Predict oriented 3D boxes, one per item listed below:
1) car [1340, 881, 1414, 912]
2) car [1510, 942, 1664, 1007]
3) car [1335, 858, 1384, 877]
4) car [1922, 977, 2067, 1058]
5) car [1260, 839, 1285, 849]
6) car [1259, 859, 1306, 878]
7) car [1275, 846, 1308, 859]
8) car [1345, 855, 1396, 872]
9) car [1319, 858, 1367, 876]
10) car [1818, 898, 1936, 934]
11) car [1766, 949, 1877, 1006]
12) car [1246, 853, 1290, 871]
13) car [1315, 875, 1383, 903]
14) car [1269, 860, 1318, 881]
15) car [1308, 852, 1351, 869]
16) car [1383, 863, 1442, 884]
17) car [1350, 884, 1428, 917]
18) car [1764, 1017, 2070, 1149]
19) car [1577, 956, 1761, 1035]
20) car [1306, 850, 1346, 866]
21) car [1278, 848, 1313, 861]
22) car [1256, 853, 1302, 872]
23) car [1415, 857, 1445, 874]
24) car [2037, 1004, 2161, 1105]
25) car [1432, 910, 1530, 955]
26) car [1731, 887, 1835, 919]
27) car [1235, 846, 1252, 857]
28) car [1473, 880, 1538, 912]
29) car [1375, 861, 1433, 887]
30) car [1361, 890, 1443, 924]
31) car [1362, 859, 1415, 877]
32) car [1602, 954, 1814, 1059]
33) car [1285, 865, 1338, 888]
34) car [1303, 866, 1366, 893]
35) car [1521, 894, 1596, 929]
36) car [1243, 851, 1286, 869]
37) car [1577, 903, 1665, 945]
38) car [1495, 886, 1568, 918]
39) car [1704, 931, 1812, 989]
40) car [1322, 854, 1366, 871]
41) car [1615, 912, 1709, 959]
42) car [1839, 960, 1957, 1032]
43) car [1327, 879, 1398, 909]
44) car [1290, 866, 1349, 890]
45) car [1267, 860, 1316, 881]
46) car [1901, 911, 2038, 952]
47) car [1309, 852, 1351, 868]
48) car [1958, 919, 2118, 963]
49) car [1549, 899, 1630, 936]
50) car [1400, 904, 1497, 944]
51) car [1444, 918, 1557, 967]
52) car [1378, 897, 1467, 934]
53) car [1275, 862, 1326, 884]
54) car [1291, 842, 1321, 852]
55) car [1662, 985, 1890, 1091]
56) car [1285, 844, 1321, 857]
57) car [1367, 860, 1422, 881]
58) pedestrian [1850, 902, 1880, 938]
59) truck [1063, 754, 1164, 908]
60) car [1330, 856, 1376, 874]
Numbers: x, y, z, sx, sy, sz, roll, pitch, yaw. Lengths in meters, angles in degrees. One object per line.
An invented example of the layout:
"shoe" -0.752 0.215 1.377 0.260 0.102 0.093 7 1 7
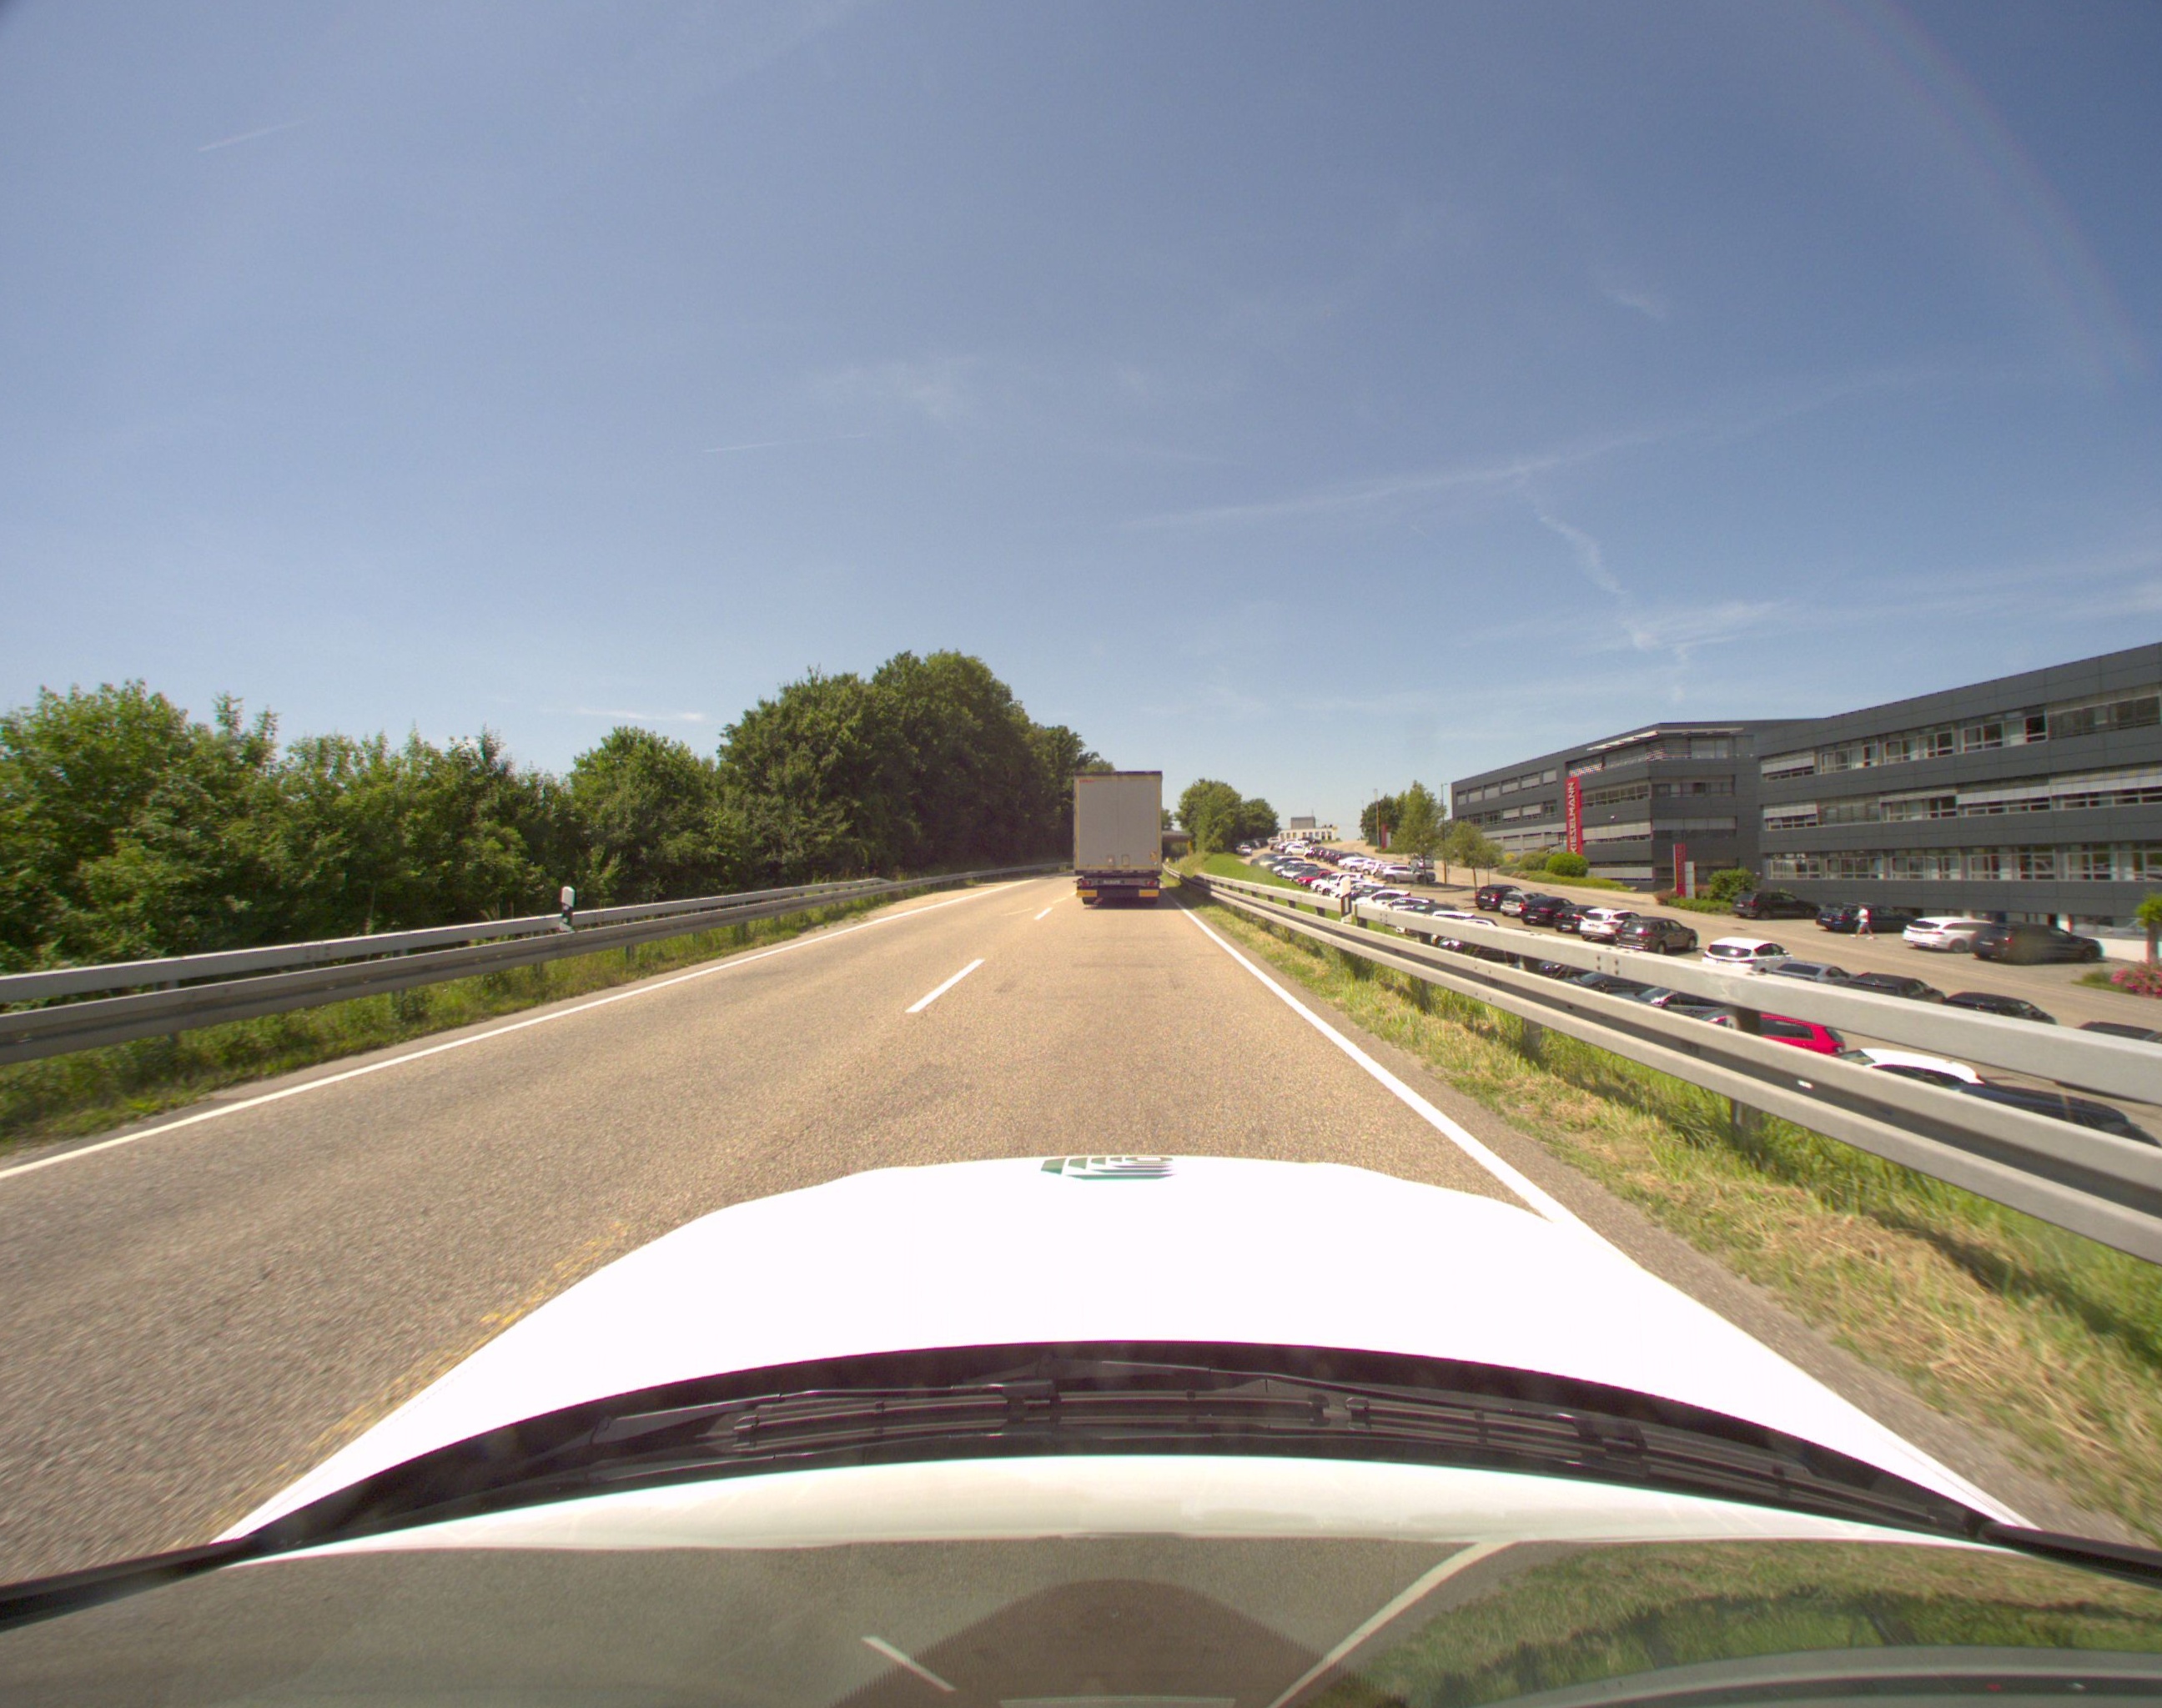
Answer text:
"car" 19.745 2.804 54.393 4.323 1.559 1.899 5 2 28
"car" 18.741 4.424 30.429 4.667 1.487 1.926 5 3 29
"car" 29.391 1.376 86.059 4.529 1.628 1.832 5 3 30
"car" 27.270 4.789 24.286 4.421 1.535 1.775 -1 4 -27
"car" 36.419 -1.904 155.085 4.383 1.685 1.874 -1 4 -25
"car" 20.517 1.460 83.030 4.383 1.685 1.874 3 2 -25
"car" 31.582 -0.259 122.173 4.531 1.628 1.831 3 2 24
"car" 29.353 0.930 82.529 4.527 1.519 1.833 1 5 34
"car" 28.618 1.403 88.919 4.529 1.628 1.832 5 3 30
"car" 42.169 3.281 43.223 4.558 1.572 1.820 -1 2 -1
"car" 27.370 4.493 30.085 4.171 1.377 1.774 -1 4 -29
"car" 20.537 0.889 89.560 4.383 1.685 1.874 3 2 -25
"car" 19.918 2.565 60.574 4.322 1.559 1.900 5 3 33
"car" 20.027 1.567 76.687 4.393 1.685 1.869 2 3 -33
"car" 29.805 0.743 97.540 4.529 1.628 1.832 5 3 30
"car" 28.683 1.685 70.506 4.528 1.628 1.832 0 3 29
"car" 19.550 2.909 51.691 4.323 1.559 1.873 5 2 28
"car" 18.606 5.051 18.454 4.358 1.662 1.910 5 2 24
"car" 19.278 4.606 27.030 4.667 1.564 1.972 5 3 29
"car" 30.923 0.438 102.810 4.529 1.628 1.832 5 3 30
"car" 30.506 -0.003 115.748 4.531 1.628 1.831 3 1 25
"car" 20.957 0.935 86.129 4.383 1.685 1.874 3 2 -25
"car" 37.200 1.226 86.883 1.798 1.662 4.006 1 0 5
"car" 26.498 4.997 20.734 4.421 1.540 1.775 -1 4 -27
"car" 19.311 3.768 39.394 4.076 1.517 1.689 5 2 27
"car" 41.844 2.899 48.613 4.554 1.647 1.822 -1 2 2
"car" 23.583 -0.413 118.081 1.619 1.353 3.711 4 2 0
"car" 28.221 2.756 54.131 4.254 1.628 1.804 -3 5 -29
"car" 29.115 1.770 73.458 4.530 1.627 1.833 5 11 29
"car" 19.190 3.143 48.737 4.323 1.456 1.830 5 2 28
"car" 29.901 1.365 79.099 4.528 1.477 1.832 -3 3 29
"car" 18.542 4.456 24.445 4.667 2.013 2.092 5 3 29
"car" 19.969 1.957 70.457 4.393 1.685 1.869 2 3 -33
"car" 19.899 1.987 63.950 4.406 1.685 1.899 5 2 25
"car" 27.833 3.318 47.450 4.603 1.513 1.803 -2 5 -32
"car" 20.805 0.689 92.345 4.383 1.685 1.874 3 2 -25
"car" 27.878 3.555 42.024 4.599 1.659 1.804 -1 4 -29
"car" 28.473 2.993 51.447 4.599 1.539 1.804 -1 4 -29
"car" 27.318 4.206 32.841 4.599 1.659 1.774 -1 4 -29
"car" 30.457 0.940 94.321 4.529 1.628 1.832 5 3 30
"car" 27.571 3.801 38.629 4.599 1.659 1.774 -1 4 -29
"car" 27.058 4.621 26.952 4.427 1.510 1.773 -2 5 -32
"car" 19.697 2.759 57.045 4.323 1.559 1.899 5 2 28
"car" 19.713 1.969 67.340 4.374 1.685 1.877 3 2 -18
"car" 20.703 1.616 80.010 4.383 1.685 1.874 3 2 -25
"car" 41.623 3.620 38.209 4.559 1.572 1.820 -1 2 -2
"car" 30.545 0.731 99.903 4.529 1.628 1.832 5 3 30
"car" 41.433 3.753 35.353 4.551 1.572 1.823 -1 2 4
"car" 28.200 3.478 45.128 4.599 1.513 1.804 -1 4 -29
"car" 19.170 3.607 42.501 4.322 1.394 1.830 5 3 31
"car" 18.839 3.927 36.687 4.323 1.490 1.721 5 2 27
"car" 19.158 3.433 45.767 4.322 1.456 1.830 5 3 31
"car" 19.999 1.731 74.139 4.393 1.685 1.869 2 3 -33
"car" 38.811 -1.173 140.406 4.528 1.629 1.832 1 0 38
"car" 18.258 4.752 21.678 4.356 1.558 1.998 6 3 38
"car" 30.768 -0.475 112.827 4.531 1.628 1.831 2 1 25
"car" 29.350 1.520 76.281 4.528 1.628 1.833 1 6 29
"pedestrian" 40.022 3.377 41.583 0.629 1.723 0.829 4 2 4
"truck" 1.085 -0.645 28.031 2.855 4.359 9.793 0 0 2
"car" 30.454 1.252 91.285 4.529 1.628 1.832 5 3 30
